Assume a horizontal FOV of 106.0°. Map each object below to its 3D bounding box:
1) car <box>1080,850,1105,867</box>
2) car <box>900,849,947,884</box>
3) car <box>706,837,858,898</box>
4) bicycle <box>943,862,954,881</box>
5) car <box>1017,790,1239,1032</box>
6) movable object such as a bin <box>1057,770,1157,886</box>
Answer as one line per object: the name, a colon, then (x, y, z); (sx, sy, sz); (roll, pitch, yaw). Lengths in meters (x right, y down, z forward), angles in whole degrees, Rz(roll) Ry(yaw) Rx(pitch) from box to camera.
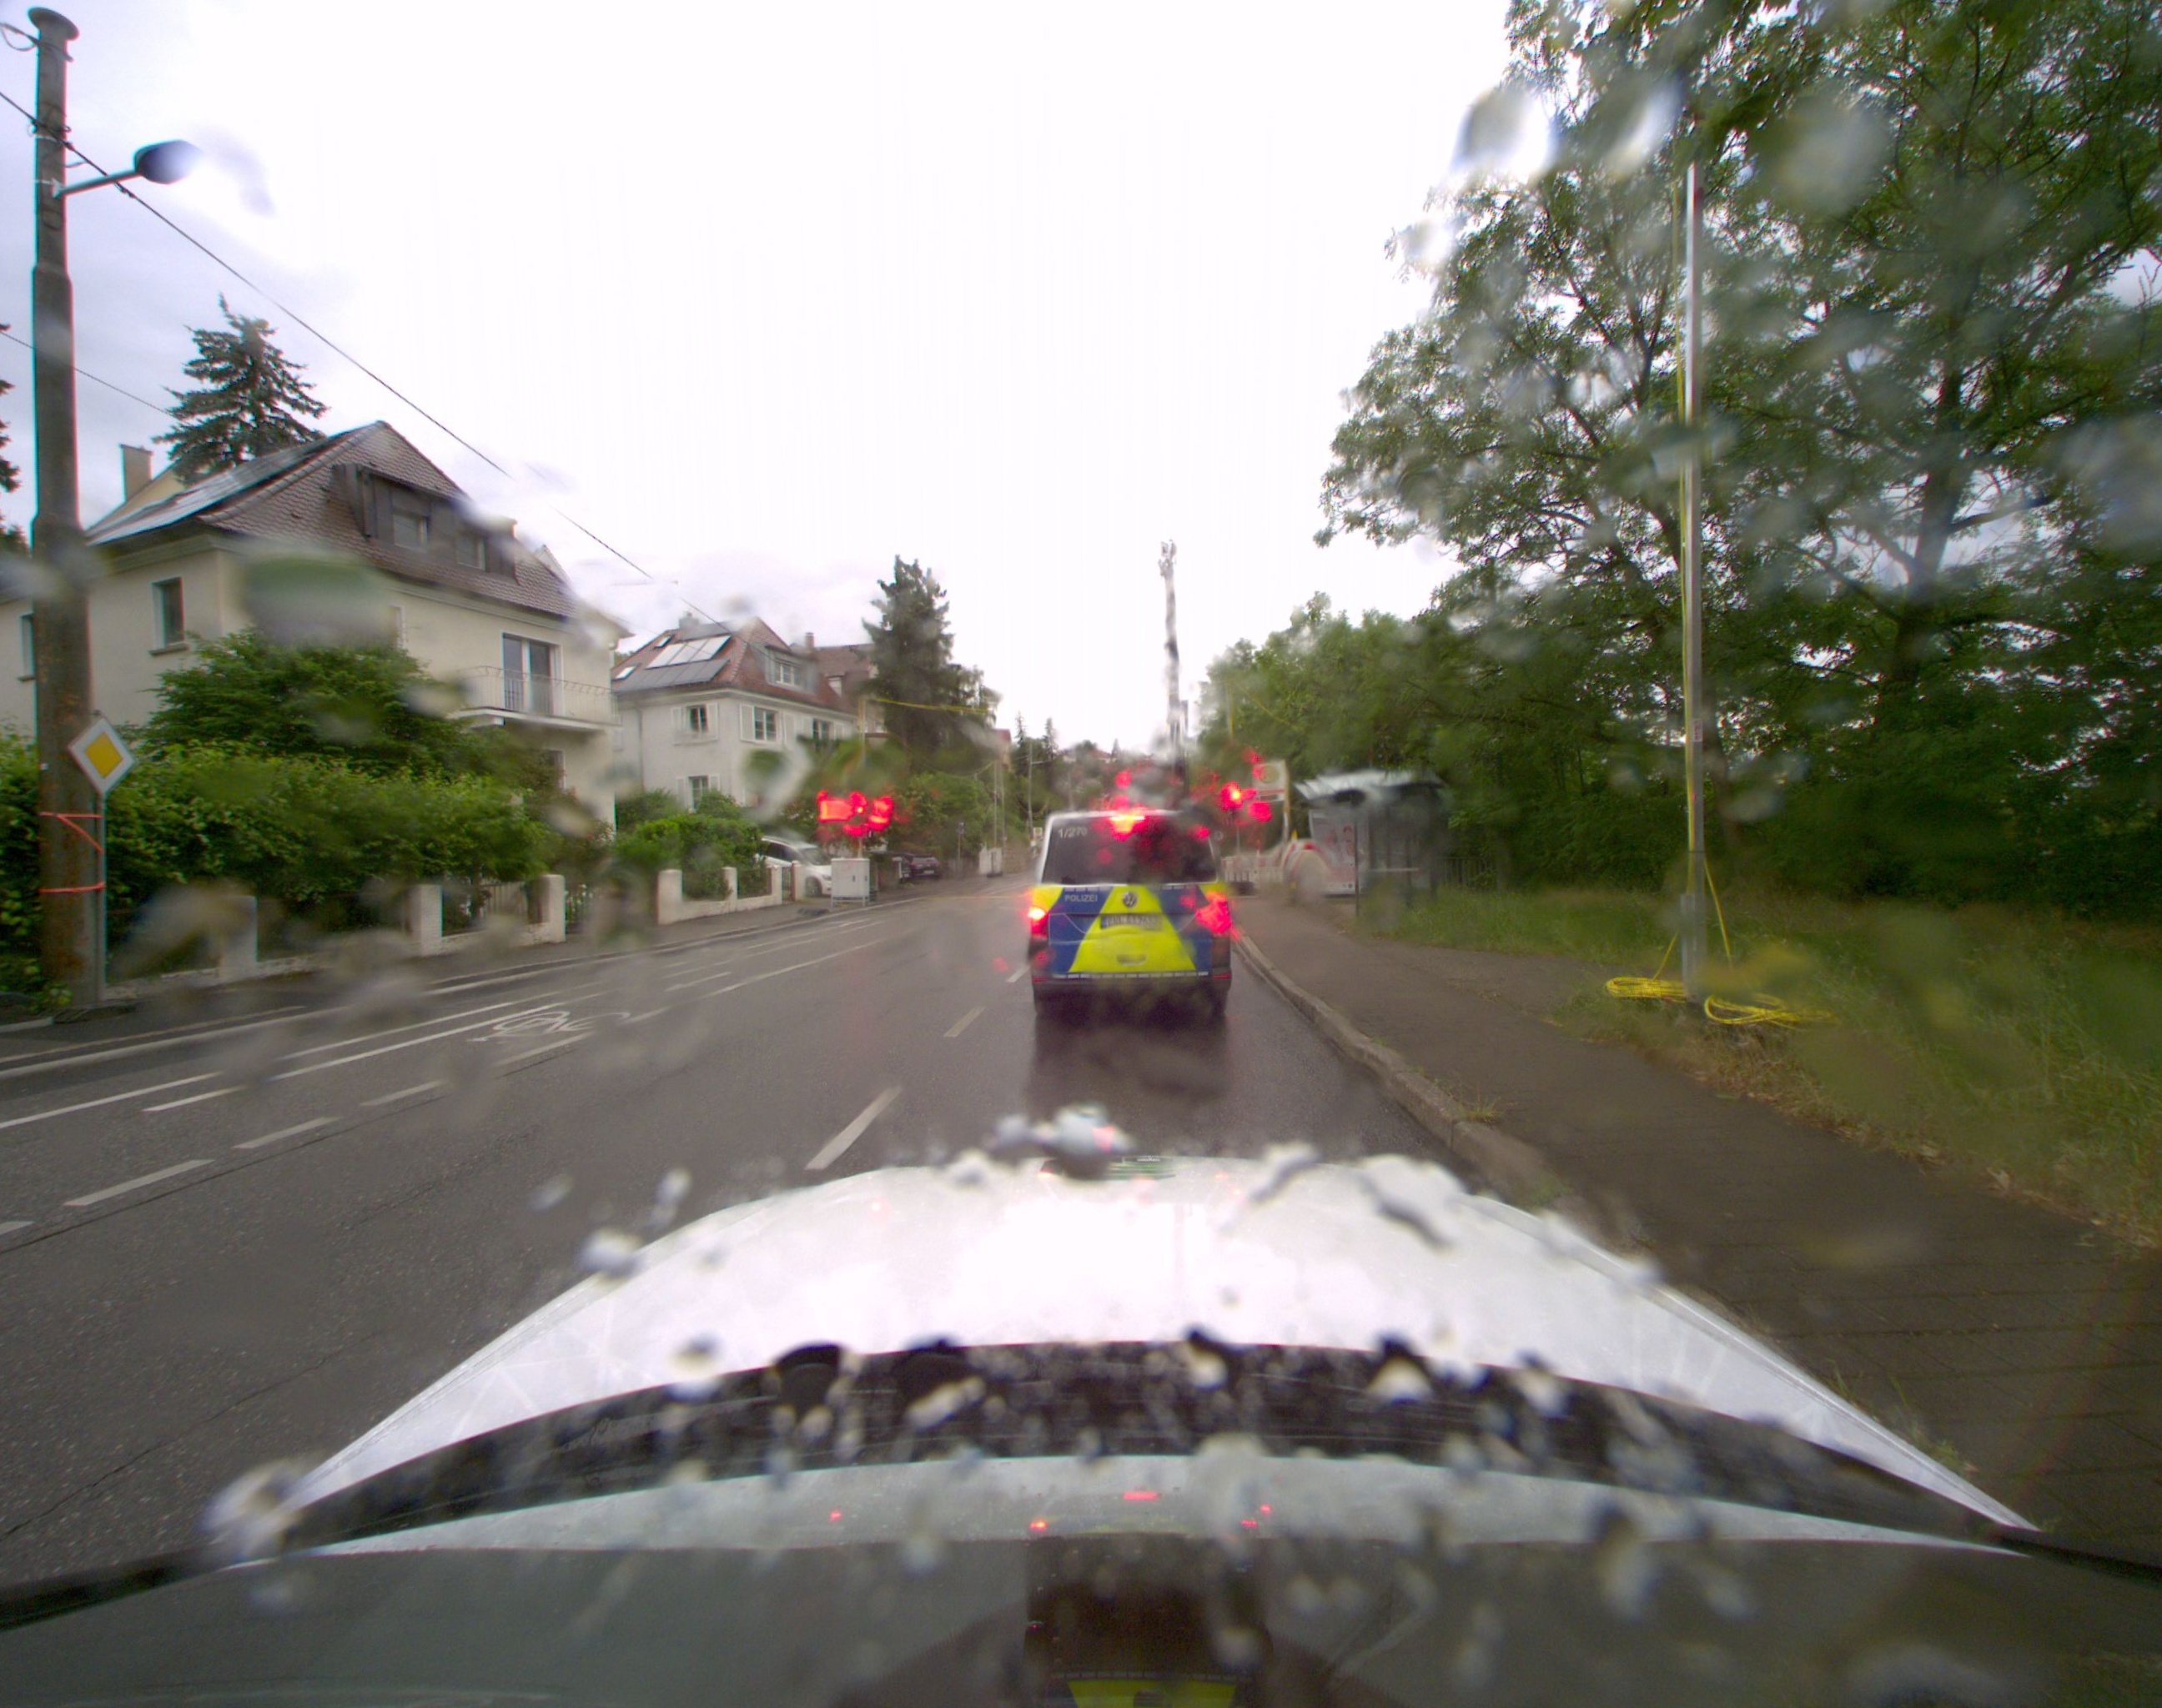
car: (1.078, 0.450, 76.100); (1.843, 1.527, 4.828); (0, 0, 6)
car: (-7.452, 0.560, 38.309); (1.770, 1.486, 3.720); (0, 1, -17)
car: (-10.278, 0.462, 28.067); (4.599, 2.007, 1.907); (0, 0, 13)
bicycle: (-6.498, 0.830, 39.899); (0.463, 0.897, 1.627); (-1, 0, -12)
car: (0.464, 0.484, 8.952); (1.886, 2.050, 4.002); (0, 0, 2)
movable object such as a bin: (1.108, -0.928, 31.782); (2.809, 4.177, 4.400); (0, 0, 17)
